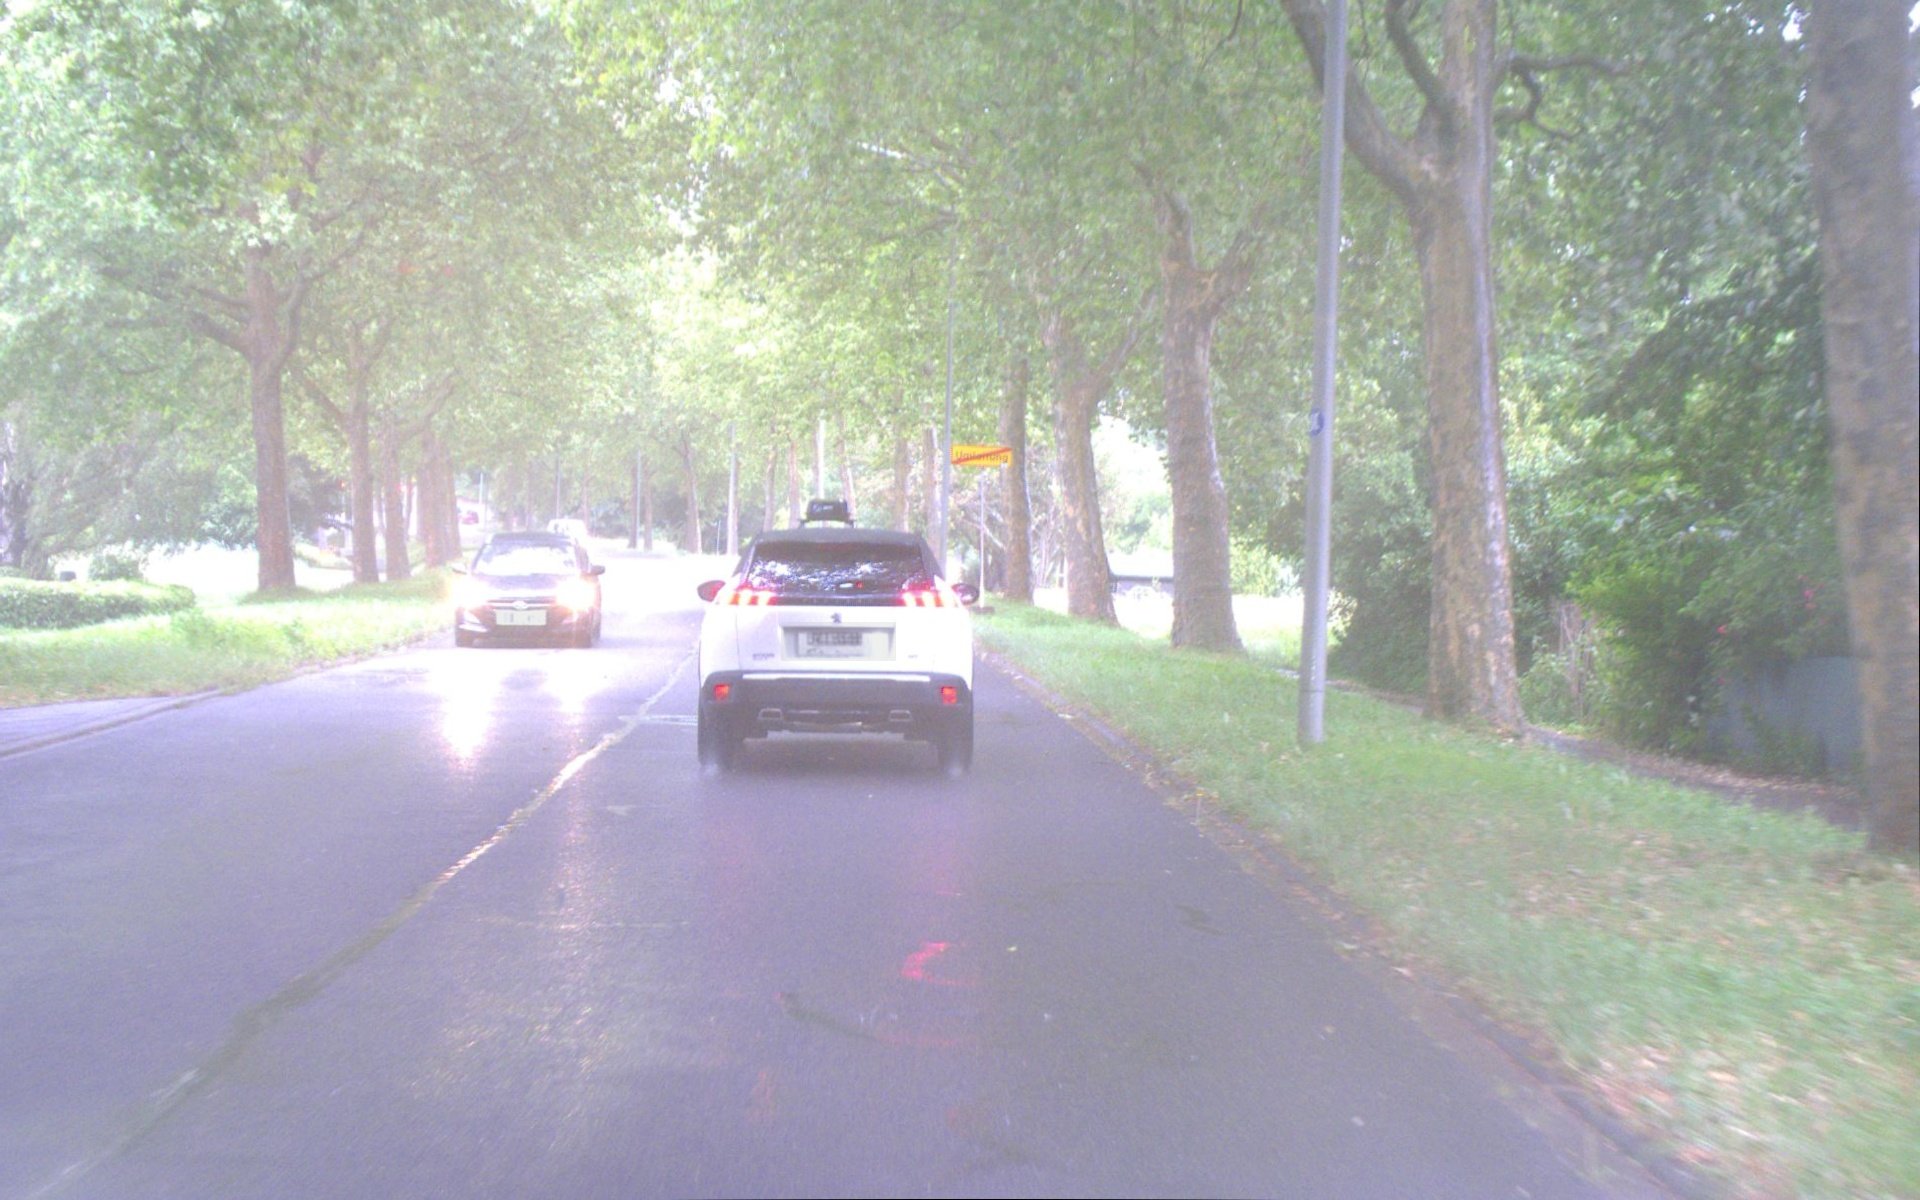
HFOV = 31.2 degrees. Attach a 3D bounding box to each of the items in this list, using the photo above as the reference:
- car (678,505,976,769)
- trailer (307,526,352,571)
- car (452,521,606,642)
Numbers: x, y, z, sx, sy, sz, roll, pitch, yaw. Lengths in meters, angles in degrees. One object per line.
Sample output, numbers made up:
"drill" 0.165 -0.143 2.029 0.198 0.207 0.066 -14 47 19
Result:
"car" -0.868 0.180 23.117 1.793 1.573 3.845 2 1 -1
"trailer" -37.258 -3.064 203.063 2.484 2.558 5.334 2 1 -11
"car" -5.744 -0.281 46.159 1.845 1.497 4.001 2 1 -5
